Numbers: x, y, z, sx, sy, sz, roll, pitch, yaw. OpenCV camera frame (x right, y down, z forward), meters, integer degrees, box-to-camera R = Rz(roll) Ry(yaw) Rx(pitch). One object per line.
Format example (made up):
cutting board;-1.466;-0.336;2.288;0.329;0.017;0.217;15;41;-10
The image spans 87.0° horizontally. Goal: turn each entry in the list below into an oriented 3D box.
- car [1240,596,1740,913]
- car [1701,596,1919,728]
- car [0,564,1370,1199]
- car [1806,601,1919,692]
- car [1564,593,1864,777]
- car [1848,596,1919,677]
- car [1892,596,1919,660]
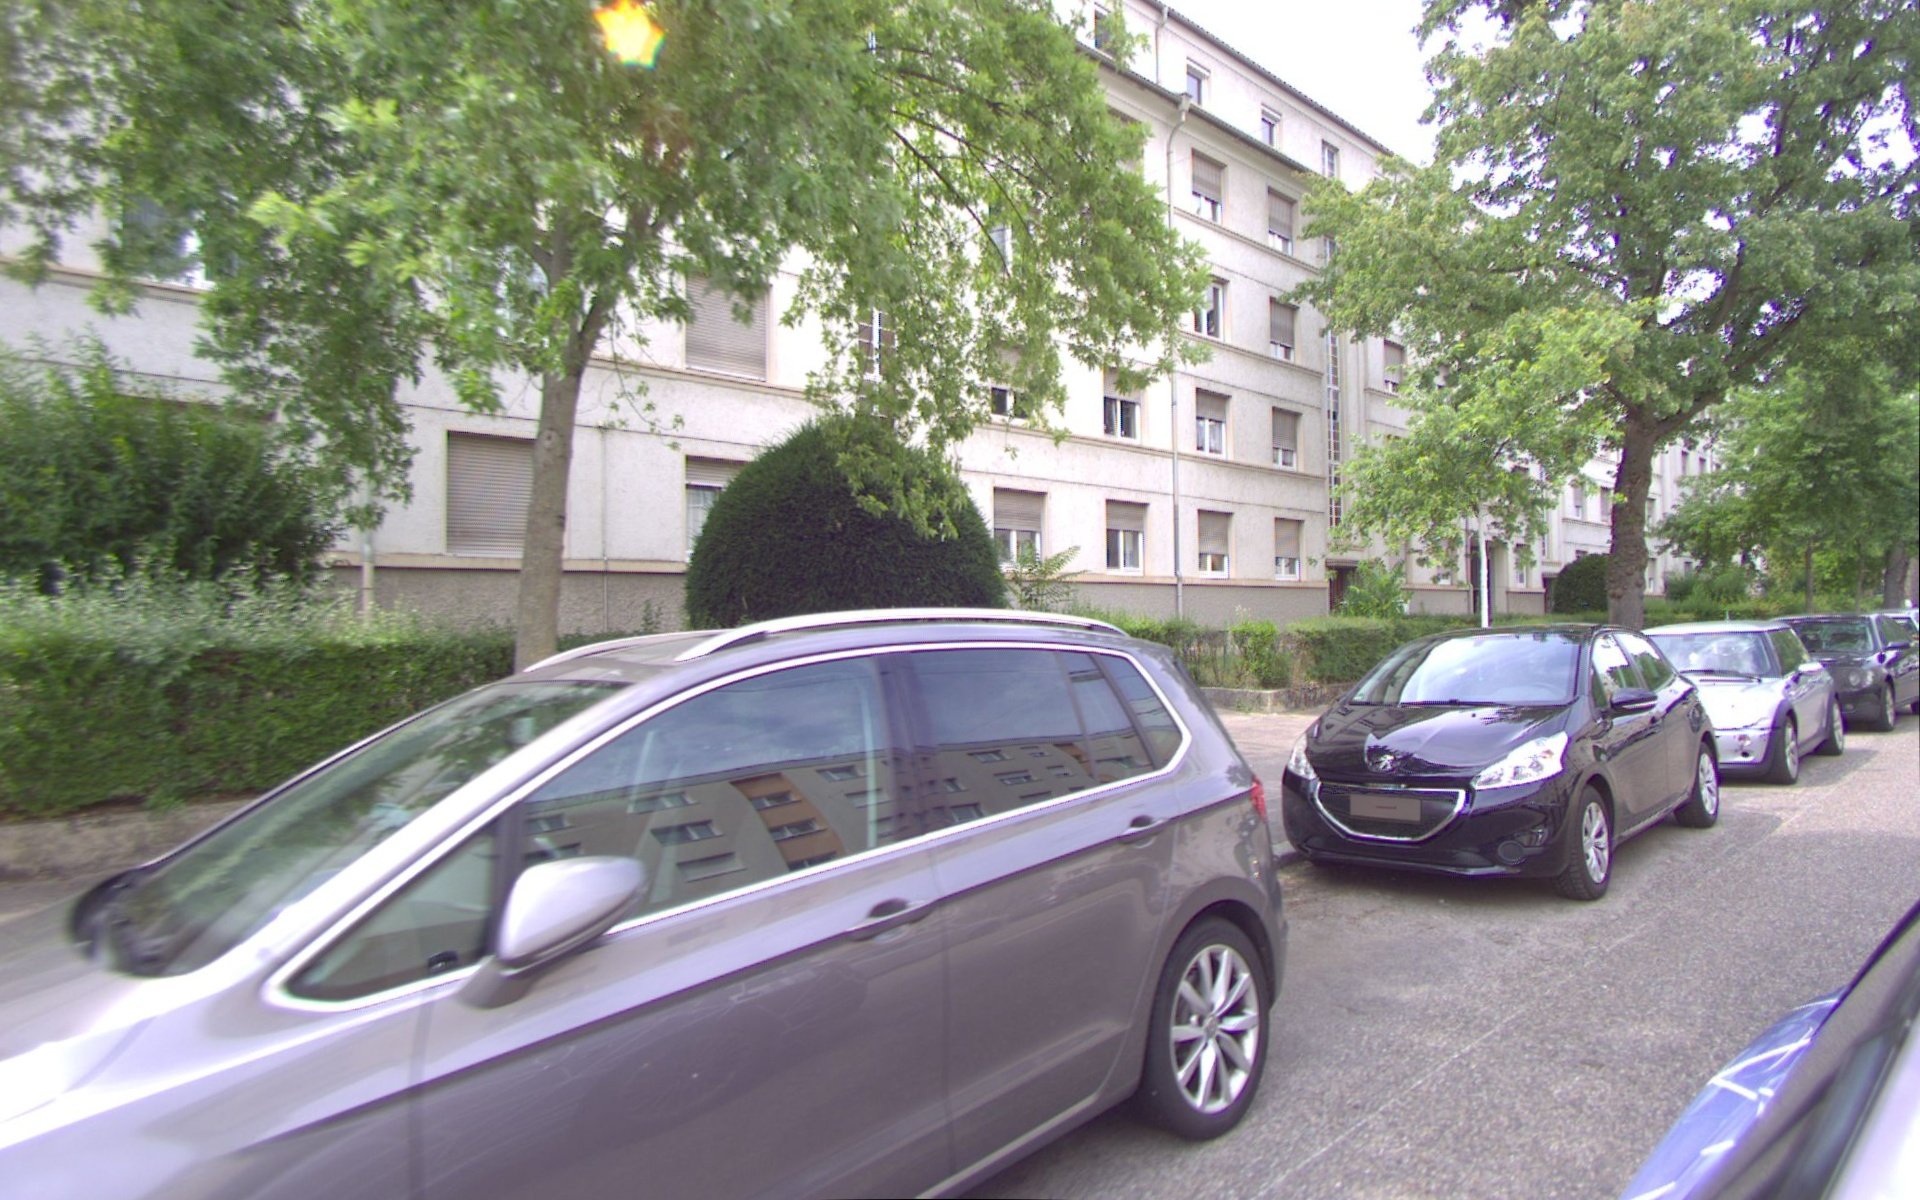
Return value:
car;3.645;0.769;6.669;3.822;1.488;1.661;1;-2;-42
car;11.804;0.730;13.564;4.530;1.488;1.783;0;-3;-38
car;-0.695;0.806;2.761;4.213;1.603;1.660;0;-4;-43
car;16.078;0.759;17.448;3.785;1.419;1.671;0;-3;-42
car;7.568;0.732;10.043;3.660;1.488;1.661;1;-2;-42
car;19.485;0.681;20.442;4.636;1.488;1.699;0;-3;-42
car;24.550;0.645;25.066;4.672;1.488;1.699;0;-3;-42
